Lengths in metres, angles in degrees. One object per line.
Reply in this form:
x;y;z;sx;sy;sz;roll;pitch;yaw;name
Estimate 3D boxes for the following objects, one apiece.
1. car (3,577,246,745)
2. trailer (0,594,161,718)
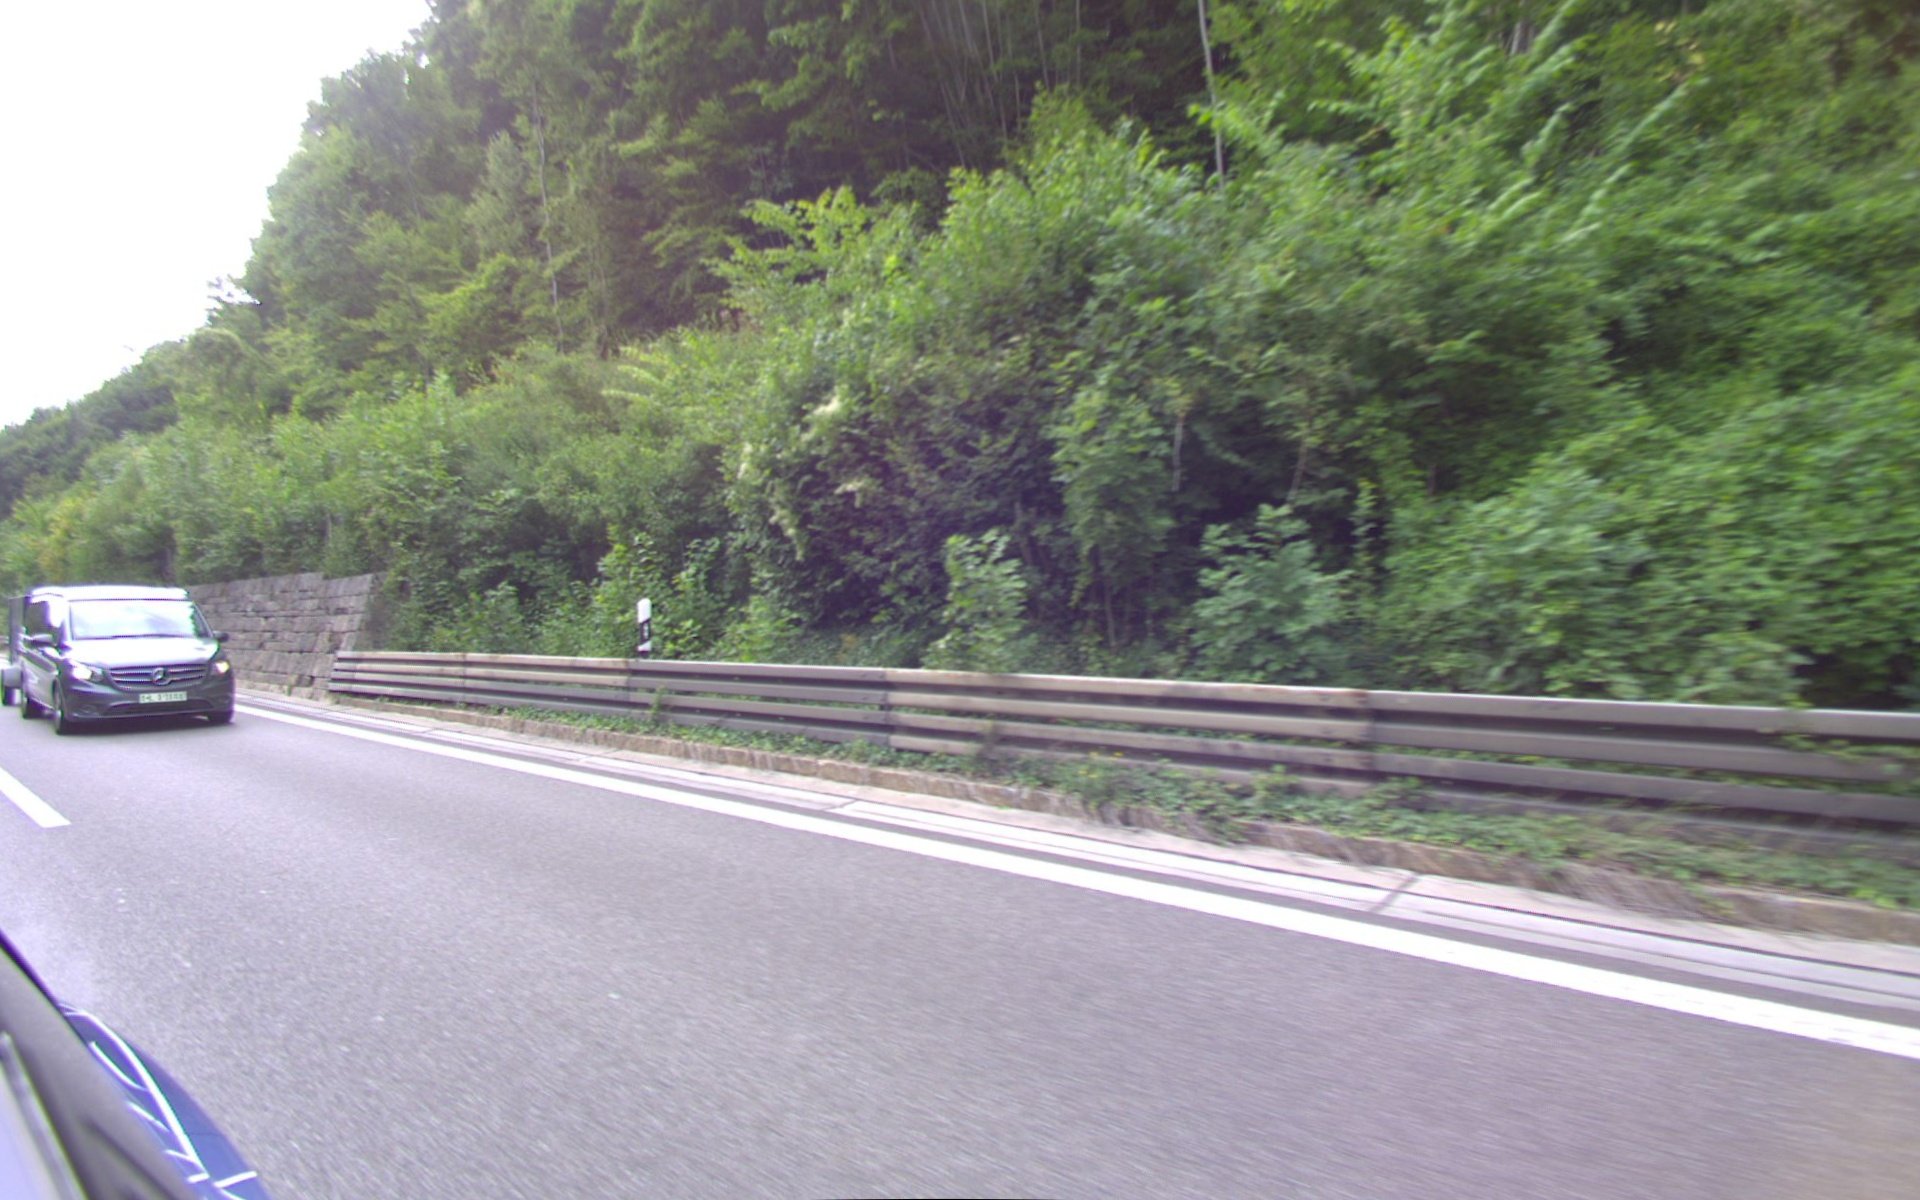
-12.383;0.801;14.835;5.539;2.029;1.972;-2;-1;42;car
-15.668;0.920;17.830;3.429;1.954;1.950;-2;-1;42;trailer
